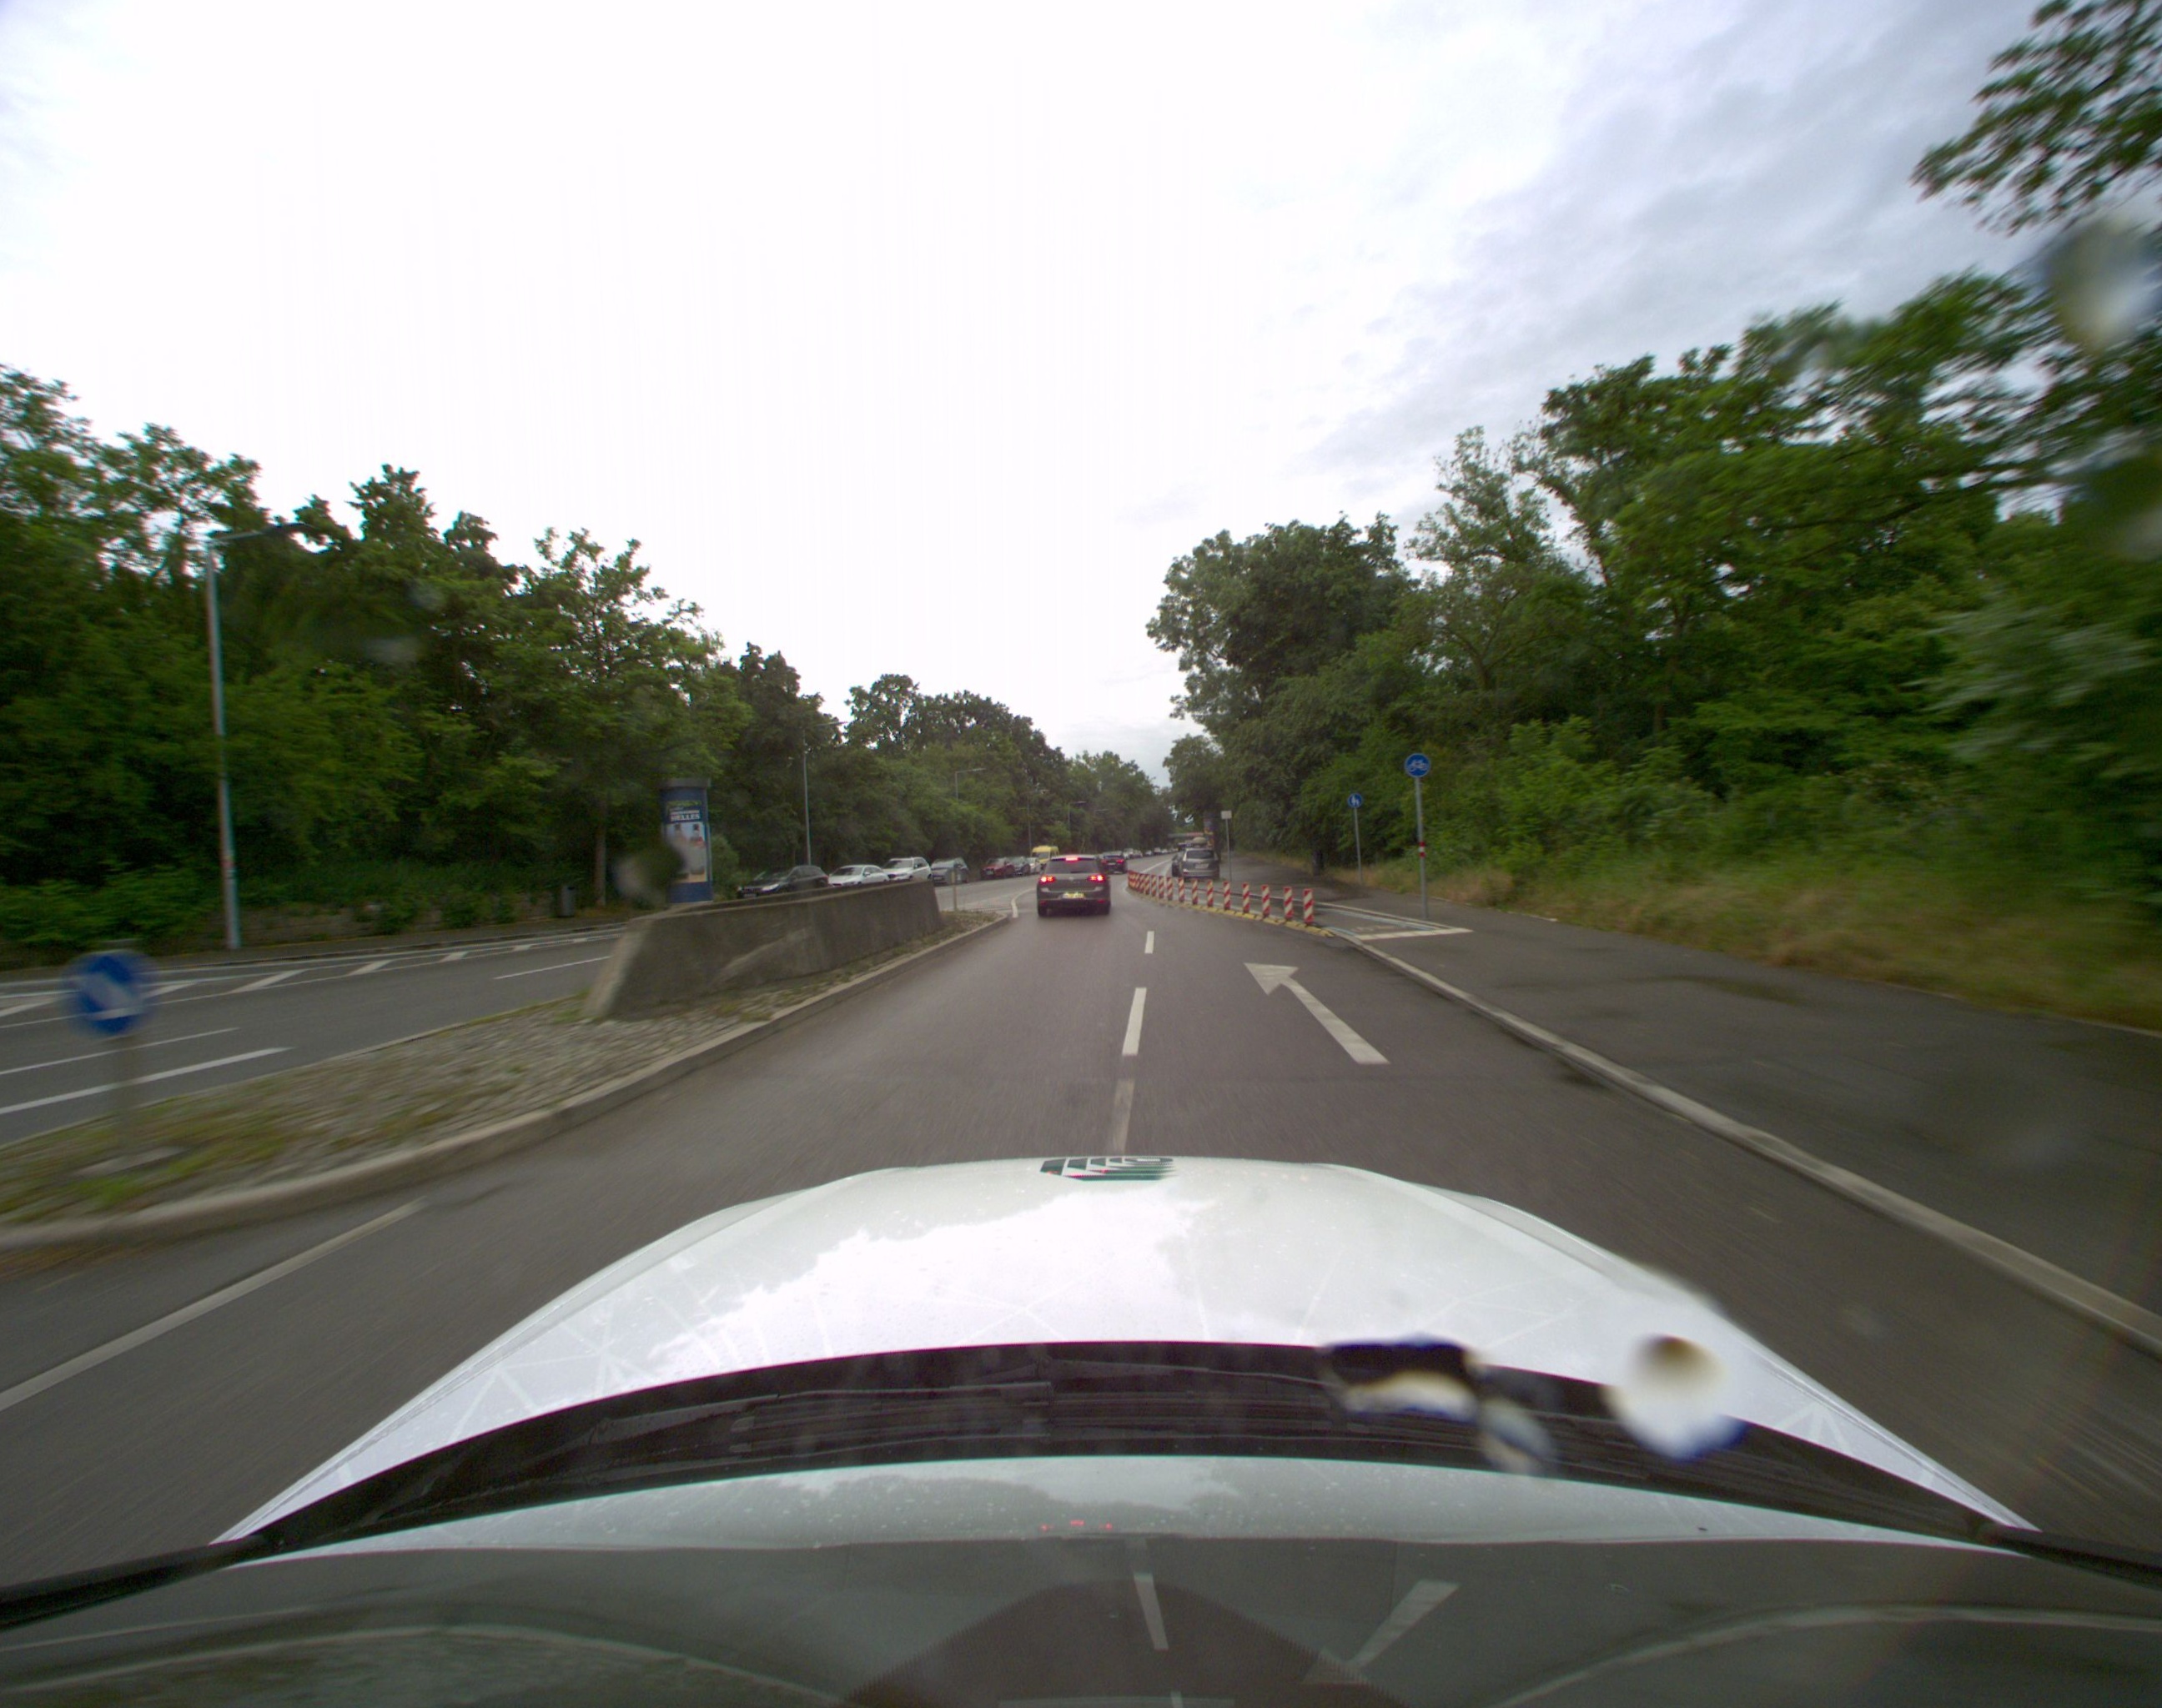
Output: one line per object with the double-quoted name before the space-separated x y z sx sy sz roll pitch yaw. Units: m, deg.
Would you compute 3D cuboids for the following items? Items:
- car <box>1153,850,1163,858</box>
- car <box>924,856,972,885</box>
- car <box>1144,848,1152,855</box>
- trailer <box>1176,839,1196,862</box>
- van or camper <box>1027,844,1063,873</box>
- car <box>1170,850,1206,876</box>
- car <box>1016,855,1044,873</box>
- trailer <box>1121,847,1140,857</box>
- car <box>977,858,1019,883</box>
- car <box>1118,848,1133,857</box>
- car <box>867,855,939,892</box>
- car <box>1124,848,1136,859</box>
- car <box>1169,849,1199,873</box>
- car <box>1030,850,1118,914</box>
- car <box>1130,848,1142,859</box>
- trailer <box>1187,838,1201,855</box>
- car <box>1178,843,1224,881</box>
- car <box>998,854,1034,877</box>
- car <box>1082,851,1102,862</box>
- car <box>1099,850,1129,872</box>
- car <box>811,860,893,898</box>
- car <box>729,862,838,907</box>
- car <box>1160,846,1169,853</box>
"car" 20.965 -0.023 221.909 2.145 2.013 5.045 -3 0 10
"car" -8.221 0.996 50.755 1.722 1.649 4.579 -2 0 6
"car" 16.278 -0.616 197.162 1.663 1.513 3.639 -2 1 8
"trailer" 11.191 -0.391 86.698 1.895 2.247 4.779 -3 0 8
"van or camper" -3.421 0.405 79.074 2.130 2.627 5.698 -3 0 10
"car" 6.305 0.515 48.336 1.844 1.399 4.391 -1 0 4
"car" -4.528 0.892 72.665 1.608 1.448 3.667 -4 0 9
"trailer" 9.616 -0.419 157.311 1.609 1.628 3.696 -3 0 40
"car" -6.293 1.229 62.221 1.907 1.617 4.502 -4 0 9
"car" 7.814 -0.240 142.969 1.981 1.488 4.480 -3 0 9
"car" -9.308 0.979 43.047 1.982 1.765 4.972 -3 0 8
"car" 9.178 -0.140 152.457 1.930 2.013 4.749 -3 0 7
"car" 6.860 0.454 54.301 1.846 1.455 4.761 -2 0 7
"car" -0.075 0.680 20.907 1.863 1.441 4.301 -1 -1 4
"car" 11.005 -0.137 163.076 1.930 2.013 4.749 -3 0 7
"trailer" 18.394 -1.217 132.821 2.120 2.560 4.306 -3 0 7
"car" 5.557 0.373 38.214 1.814 1.615 4.257 -2 0 4
"car" -5.344 0.904 67.662 1.983 1.700 4.625 -3 0 7
"car" 1.398 0.275 104.584 1.859 1.304 4.481 -3 0 9
"car" 2.432 0.451 58.583 1.871 1.466 4.007 -1 1 6
"car" -10.343 1.088 37.144 1.708 1.460 4.720 -3 0 9
"car" -11.347 1.121 31.462 1.738 1.445 4.601 -2 0 11
"car" 25.135 -1.466 246.013 2.145 2.013 5.045 -3 0 10
